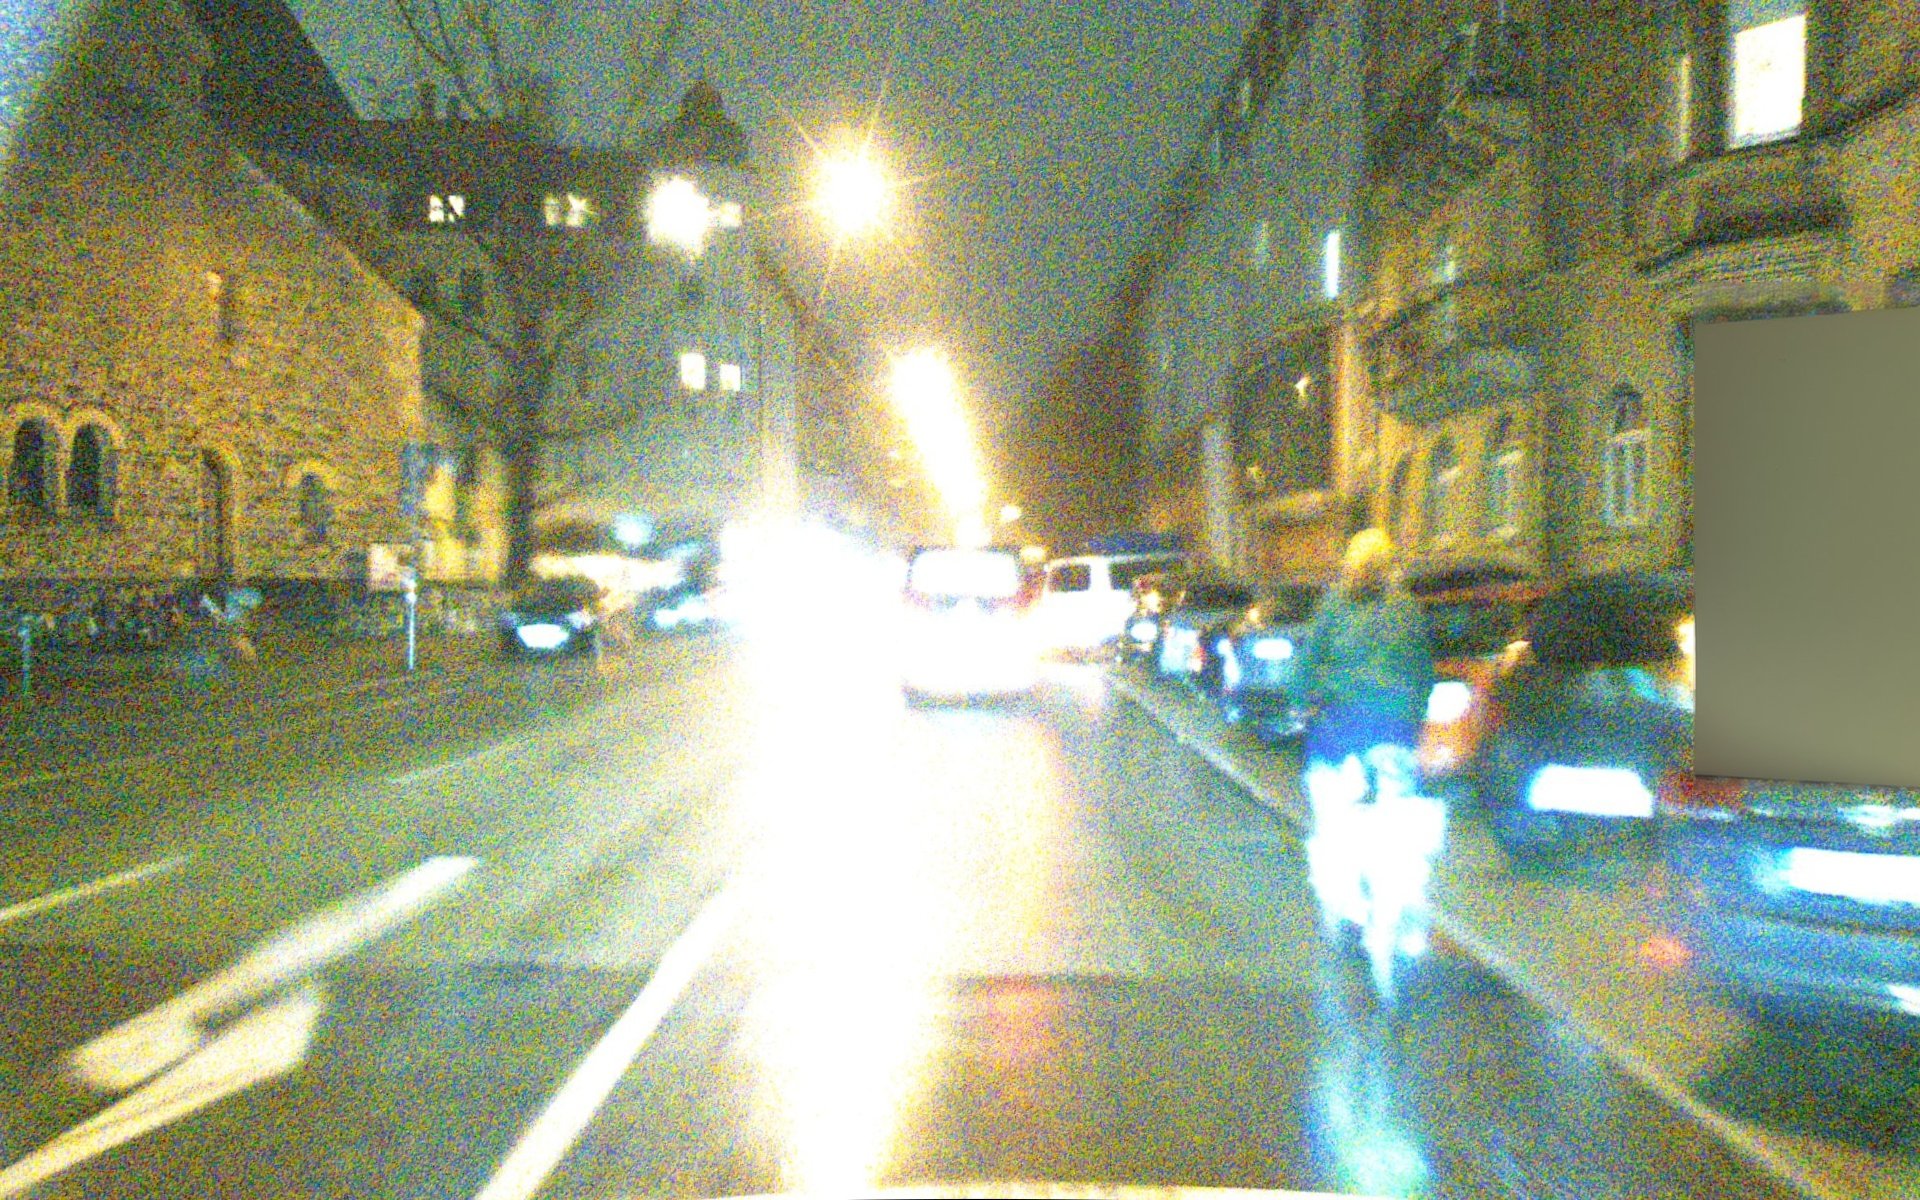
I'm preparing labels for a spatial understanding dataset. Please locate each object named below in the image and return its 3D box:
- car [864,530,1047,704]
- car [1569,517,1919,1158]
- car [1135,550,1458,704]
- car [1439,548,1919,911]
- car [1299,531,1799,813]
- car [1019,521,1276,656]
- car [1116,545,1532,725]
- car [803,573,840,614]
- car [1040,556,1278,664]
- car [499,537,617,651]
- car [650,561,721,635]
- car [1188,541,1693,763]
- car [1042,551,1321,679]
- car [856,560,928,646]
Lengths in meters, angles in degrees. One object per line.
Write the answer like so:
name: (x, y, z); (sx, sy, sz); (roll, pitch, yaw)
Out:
car: (-0.029, 0.167, 21.519); (2.123, 2.006, 4.302); (-1, 1, 0)
car: (4.041, 0.516, 5.433); (4.134, 1.618, 1.711); (-3, 2, -33)
car: (4.327, 0.270, 20.970); (4.143, 1.674, 1.746); (-3, 2, -38)
car: (4.567, 0.503, 9.059); (4.144, 1.500, 1.639); (-3, 2, -38)
car: (4.431, 0.384, 12.111); (4.149, 1.674, 1.637); (-3, 2, -41)
car: (3.759, -0.287, 32.674); (4.959, 2.433, 2.111); (-3, 2, -38)
car: (3.939, 0.311, 17.957); (4.111, 1.674, 1.759); (-2, 1, -21)
car: (-6.833, -0.350, 82.088); (1.690, 2.006, 4.219); (0, 1, -3)
car: (3.561, 0.136, 29.228); (4.143, 1.674, 1.746); (-3, 2, -38)
car: (-7.706, -0.148, 31.479); (1.959, 2.006, 4.282); (0, 1, -17)
car: (-7.721, -0.081, 46.350); (1.695, 2.006, 3.714); (0, 1, -14)
car: (4.287, 0.383, 14.803); (4.111, 1.674, 1.759); (-2, 1, -21)
car: (3.364, 0.163, 24.746); (4.143, 1.674, 1.746); (-3, 2, -38)
car: (-1.692, 0.045, 40.731); (1.690, 2.006, 4.219); (0, 1, -3)
